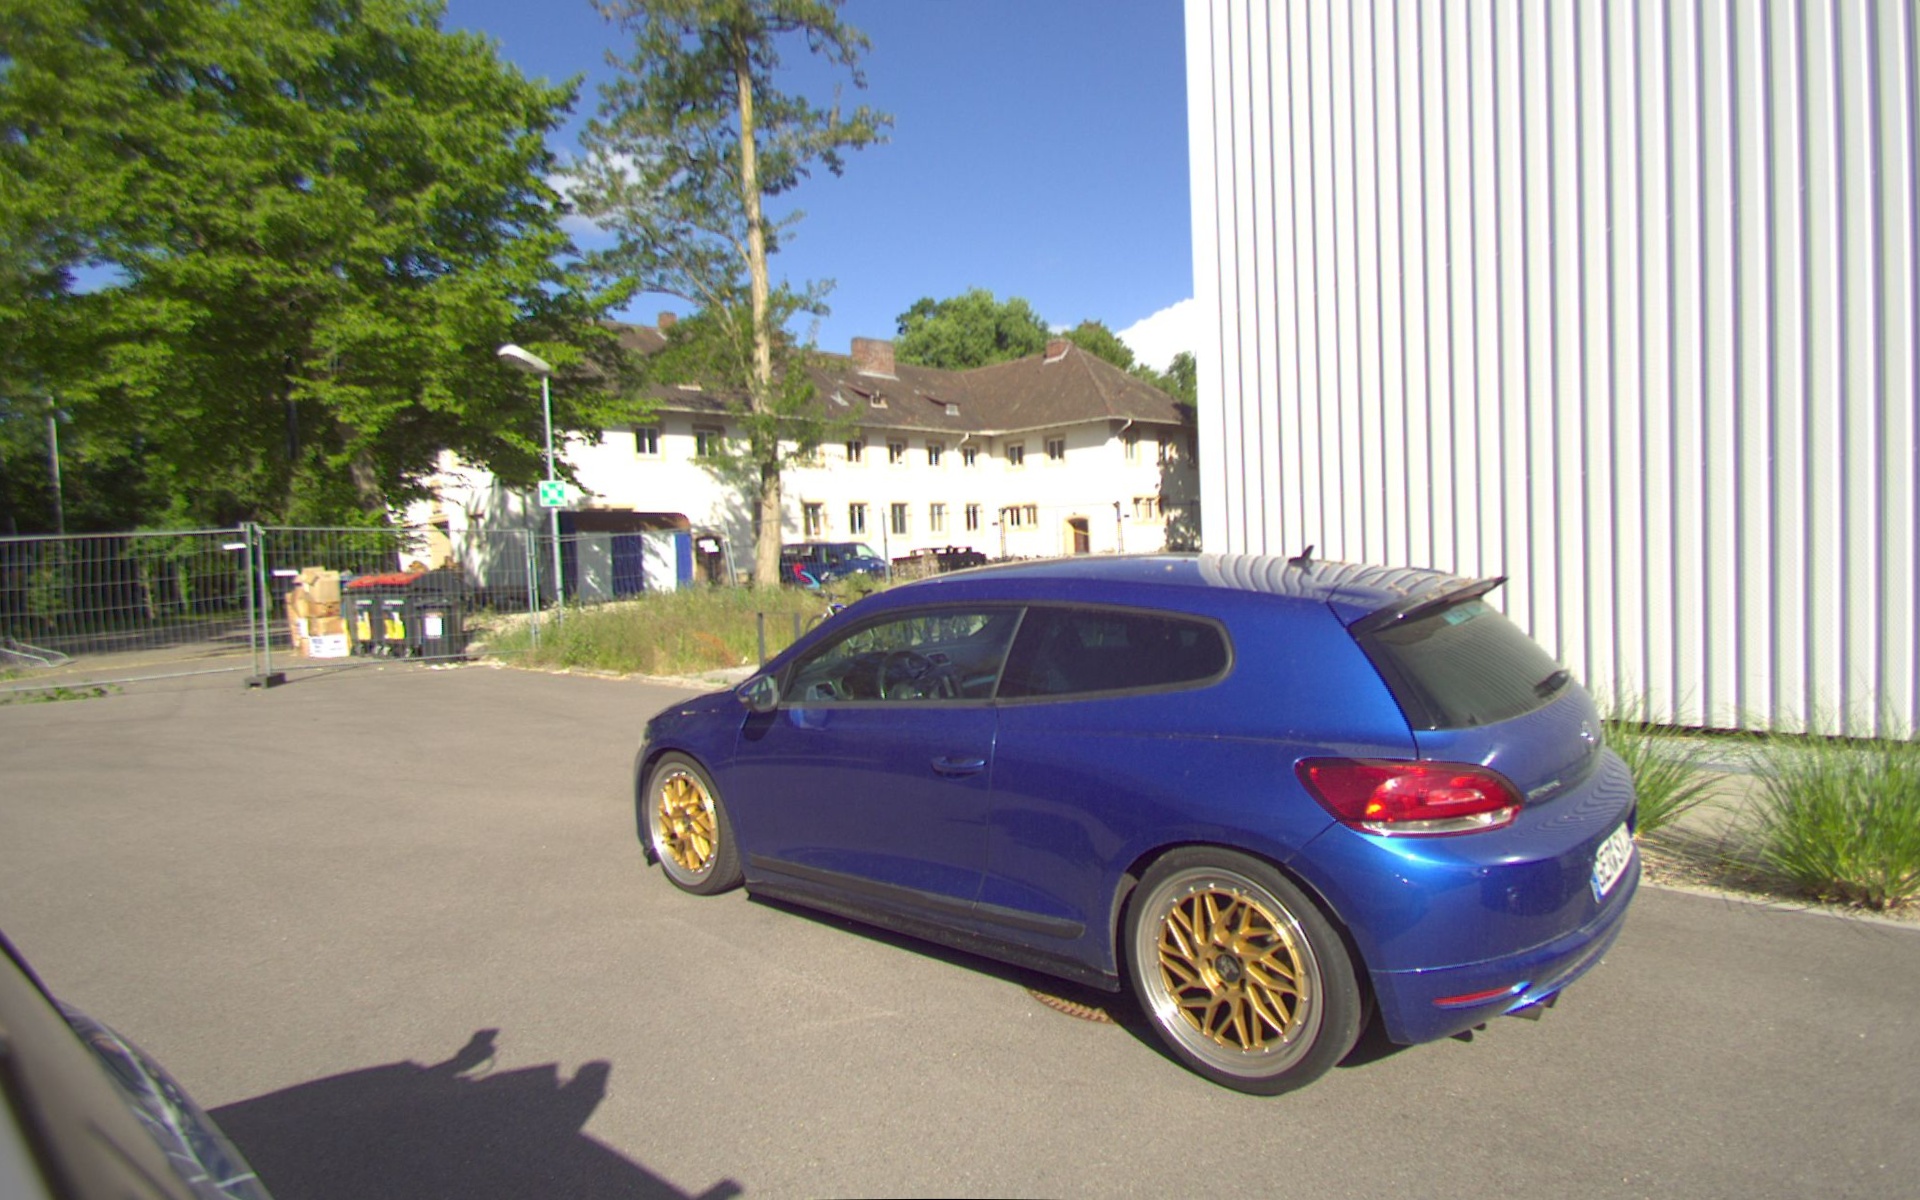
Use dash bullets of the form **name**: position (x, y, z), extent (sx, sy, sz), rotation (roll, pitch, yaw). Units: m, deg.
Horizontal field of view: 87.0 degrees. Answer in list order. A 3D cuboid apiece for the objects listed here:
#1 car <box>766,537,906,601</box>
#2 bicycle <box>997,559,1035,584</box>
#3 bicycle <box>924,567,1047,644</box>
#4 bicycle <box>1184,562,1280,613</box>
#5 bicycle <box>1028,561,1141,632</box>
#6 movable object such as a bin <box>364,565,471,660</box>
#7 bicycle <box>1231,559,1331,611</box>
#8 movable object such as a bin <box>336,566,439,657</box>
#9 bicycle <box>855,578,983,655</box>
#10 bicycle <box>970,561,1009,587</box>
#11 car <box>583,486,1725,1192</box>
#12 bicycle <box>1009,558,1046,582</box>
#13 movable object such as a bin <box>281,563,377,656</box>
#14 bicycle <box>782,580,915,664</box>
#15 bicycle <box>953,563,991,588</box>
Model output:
- **car**: position (-4.353, -1.108, 35.159), extent (4.873, 2.026, 2.032), rotation (2, 6, 41)
- **bicycle**: position (2.767, -1.428, 50.234), extent (0.784, 1.141, 1.846), rotation (-6, 6, -41)
- **bicycle**: position (0.352, 0.080, 14.732), extent (1.829, 1.045, 0.476), rotation (-1, 4, 38)
- **bicycle**: position (5.459, -0.241, 20.375), extent (1.812, 0.967, 0.476), rotation (-1, 4, 38)
- **bicycle**: position (2.042, -0.052, 16.727), extent (1.833, 1.096, 0.476), rotation (-1, 4, 38)
- **movable object such as a bin**: position (-8.981, 0.179, 16.762), extent (1.229, 1.442, 1.080), rotation (0, 5, 38)
- **bicycle**: position (6.414, -0.289, 20.265), extent (1.833, 0.967, 0.476), rotation (-1, 4, 38)
- **movable object such as a bin**: position (-9.975, 0.179, 17.652), extent (1.229, 1.450, 1.080), rotation (0, 5, 38)
- **bicycle**: position (-0.581, 0.227, 13.803), extent (1.832, 0.967, 0.476), rotation (-1, 4, 38)
- **bicycle**: position (1.413, -1.269, 48.874), extent (0.784, 1.141, 1.846), rotation (-6, 6, -41)
- **car**: position (0.364, 0.420, 3.969), extent (4.053, 1.370, 1.755), rotation (-1, 4, 43)
- **bicycle**: position (3.389, -1.503, 50.888), extent (0.784, 1.141, 1.844), rotation (-6, 6, -41)
- **movable object such as a bin**: position (-11.634, 0.136, 18.658), extent (1.229, 1.608, 1.080), rotation (1, 4, 38)
- **bicycle**: position (-1.452, 0.273, 12.980), extent (1.833, 0.994, 0.476), rotation (-1, 4, 38)
- **bicycle**: position (0.571, -1.172, 48.054), extent (0.747, 1.141, 1.832), rotation (-6, 6, -41)
